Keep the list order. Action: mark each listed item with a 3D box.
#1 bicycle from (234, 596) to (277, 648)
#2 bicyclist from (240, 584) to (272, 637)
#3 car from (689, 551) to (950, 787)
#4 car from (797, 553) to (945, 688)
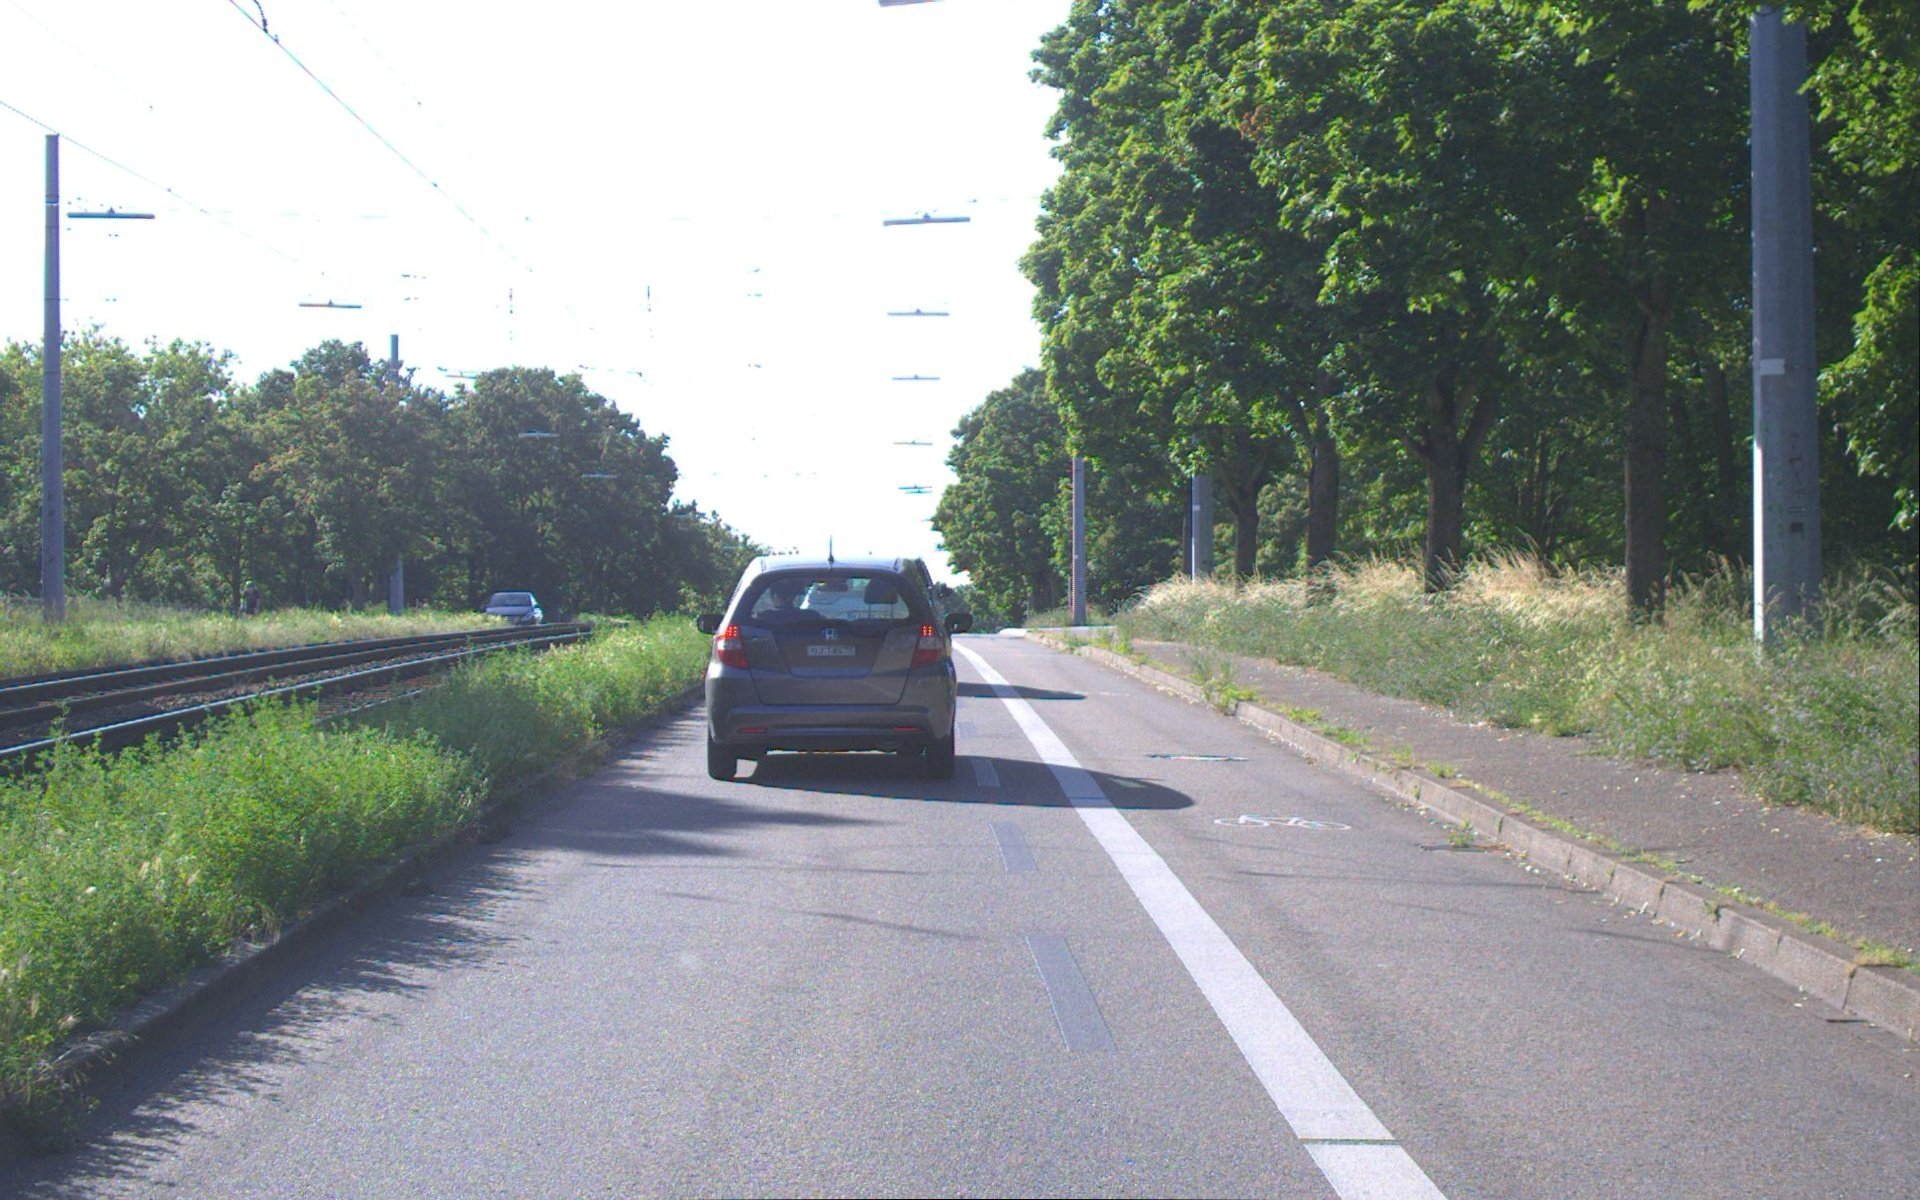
[{"bbox_3d":[-17.799,0.547,86.851,0.590,1.257,2.427,1,1,0],"label":"bicycle"},{"bbox_3d":[-17.795,0.260,86.920,0.582,1.306,0.987,1,1,0],"label":"bicyclist"},{"bbox_3d":[-0.948,0.420,24.226,1.670,1.502,3.811,1,1,-1],"label":"car"},{"bbox_3d":[-1.020,0.208,40.961,1.654,1.502,3.811,1,1,0],"label":"car"}]
